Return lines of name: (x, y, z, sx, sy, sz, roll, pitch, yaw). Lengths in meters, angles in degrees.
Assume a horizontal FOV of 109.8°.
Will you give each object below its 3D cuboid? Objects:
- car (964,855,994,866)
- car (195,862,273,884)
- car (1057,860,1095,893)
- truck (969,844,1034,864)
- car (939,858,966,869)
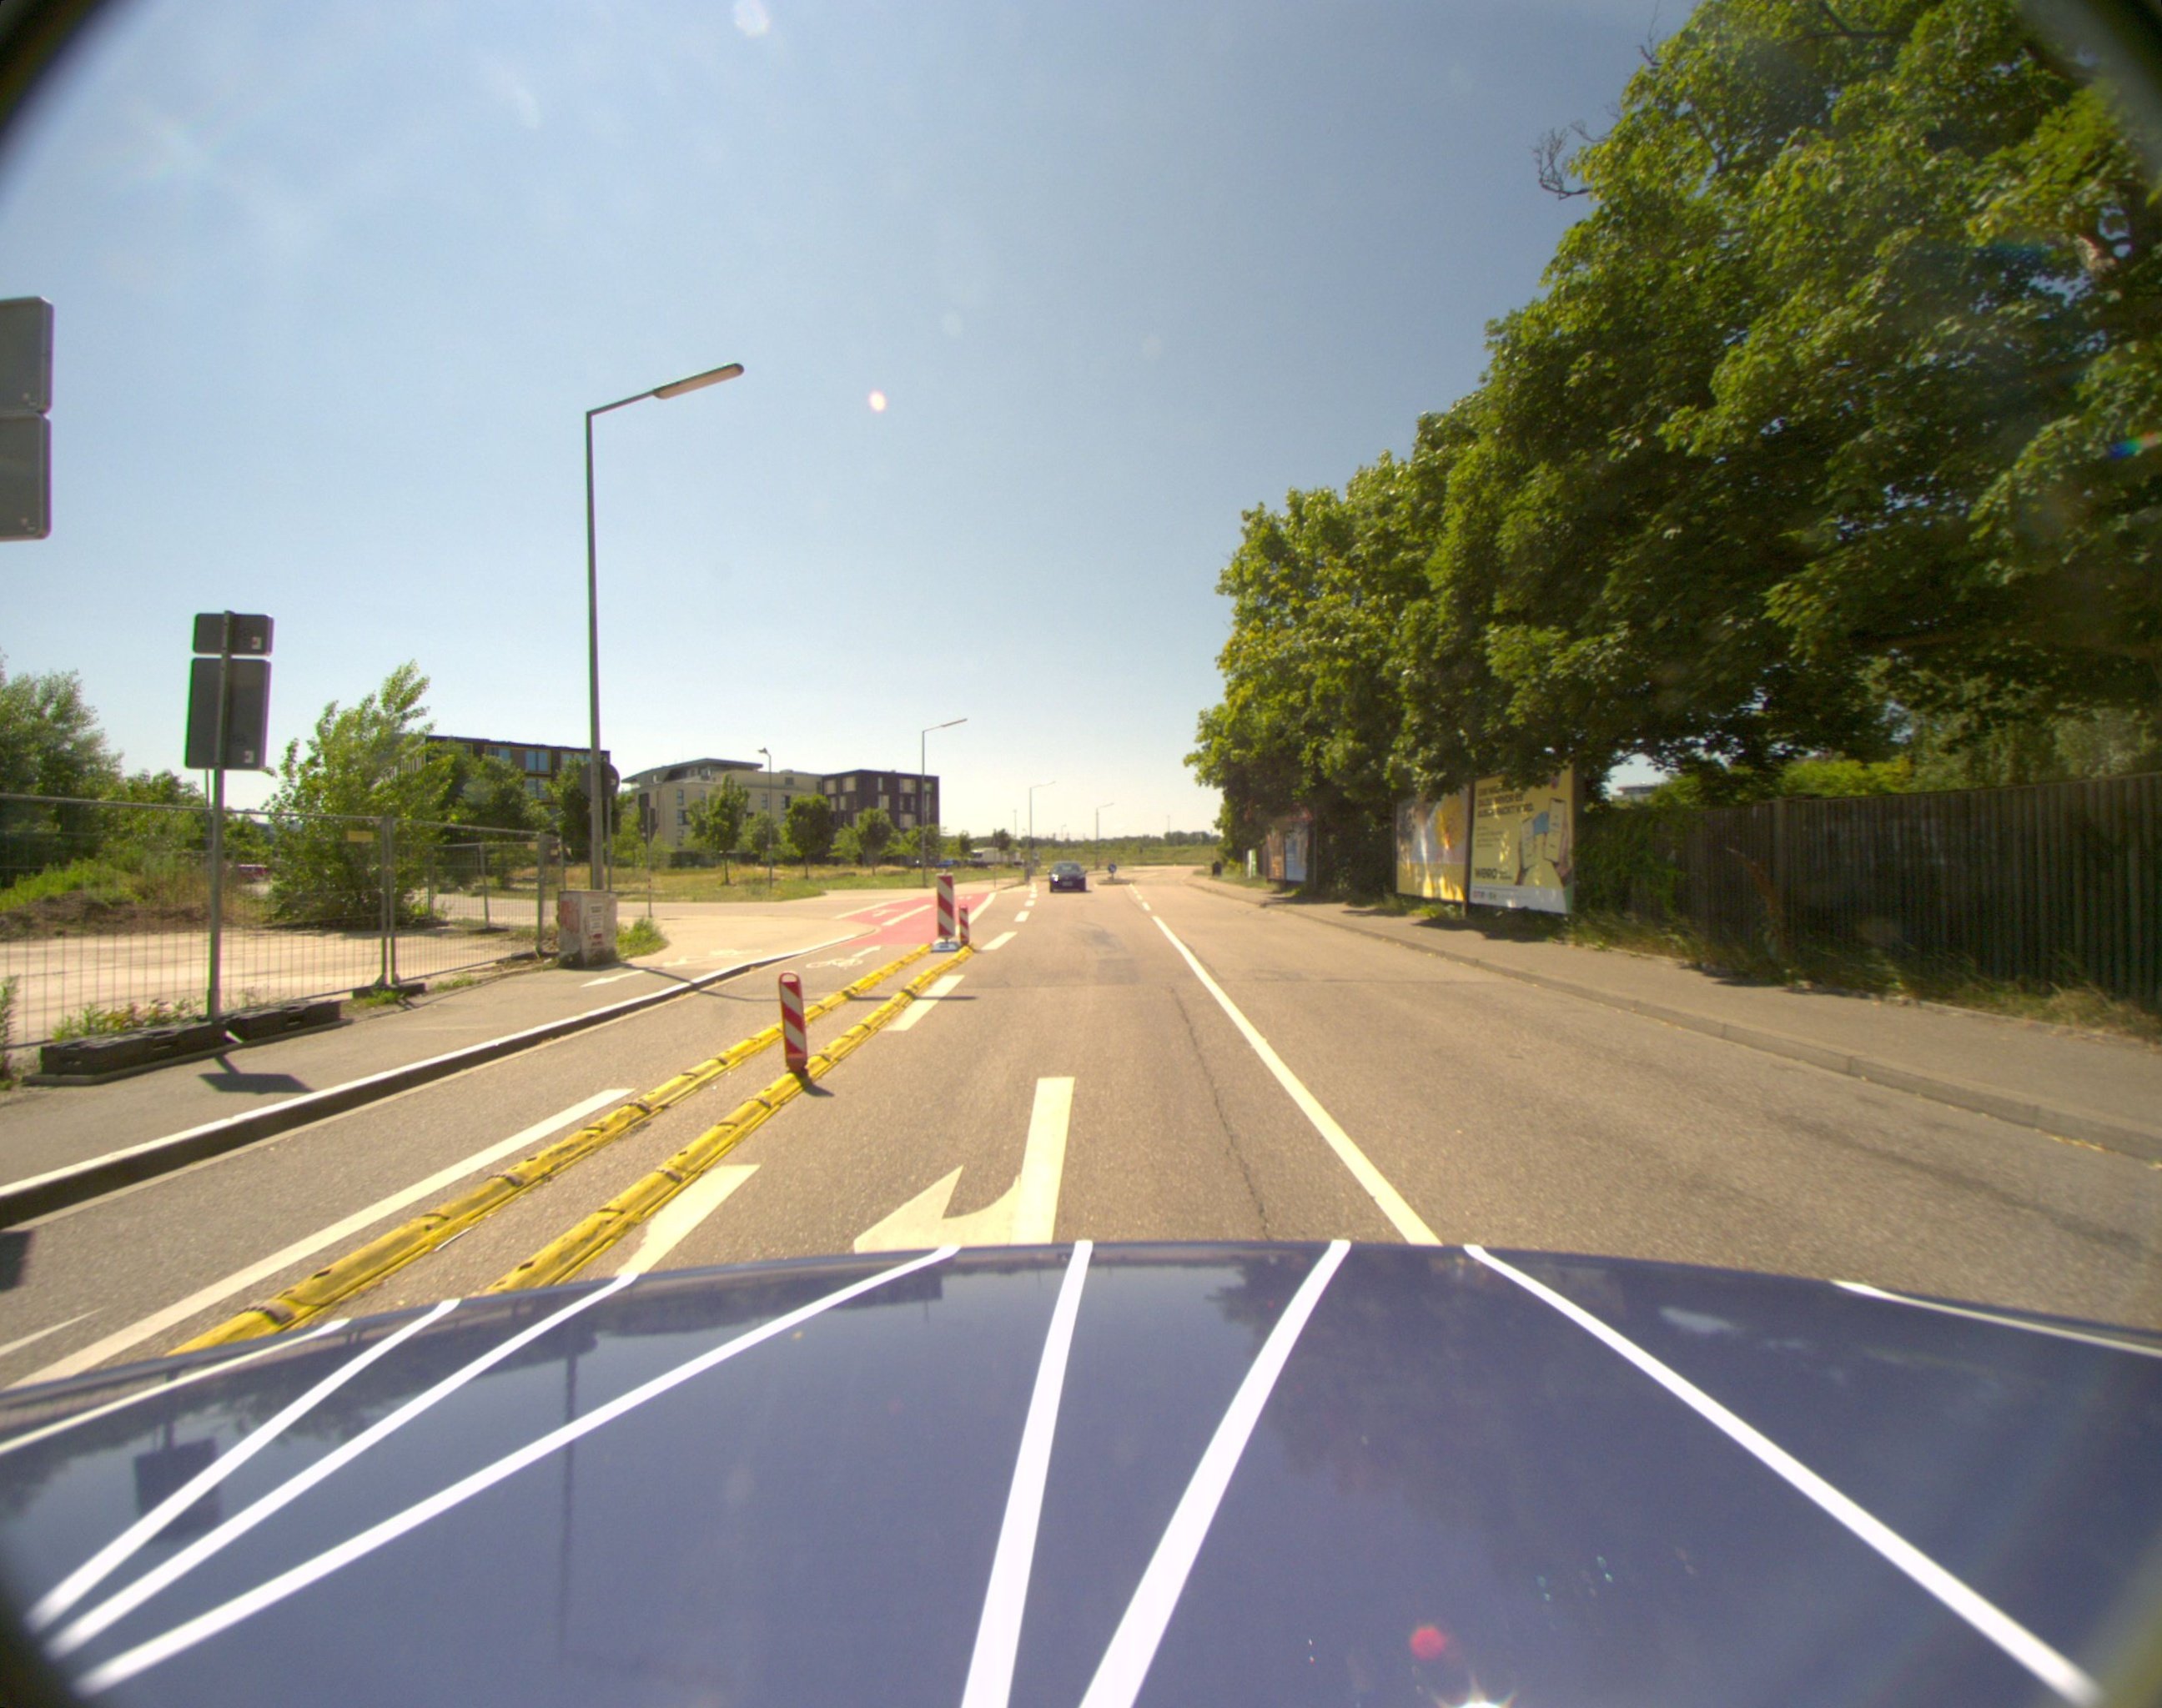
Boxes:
car: (-15.380, 0.972, 114.911, 4.495, 1.553, 2.036, 0, 0, 42)
car: (-86.232, 1.924, 77.457, 2.230, 2.103, 5.171, -1, 0, 44)
car: (-0.168, 1.029, 36.045, 1.653, 1.458, 4.160, 0, 0, 2)
truck: (-13.784, -0.014, 132.962, 3.009, 3.442, 12.165, 2, 2, 45)
car: (-18.935, 1.401, 111.873, 4.059, 1.642, 1.959, 0, 0, 43)
